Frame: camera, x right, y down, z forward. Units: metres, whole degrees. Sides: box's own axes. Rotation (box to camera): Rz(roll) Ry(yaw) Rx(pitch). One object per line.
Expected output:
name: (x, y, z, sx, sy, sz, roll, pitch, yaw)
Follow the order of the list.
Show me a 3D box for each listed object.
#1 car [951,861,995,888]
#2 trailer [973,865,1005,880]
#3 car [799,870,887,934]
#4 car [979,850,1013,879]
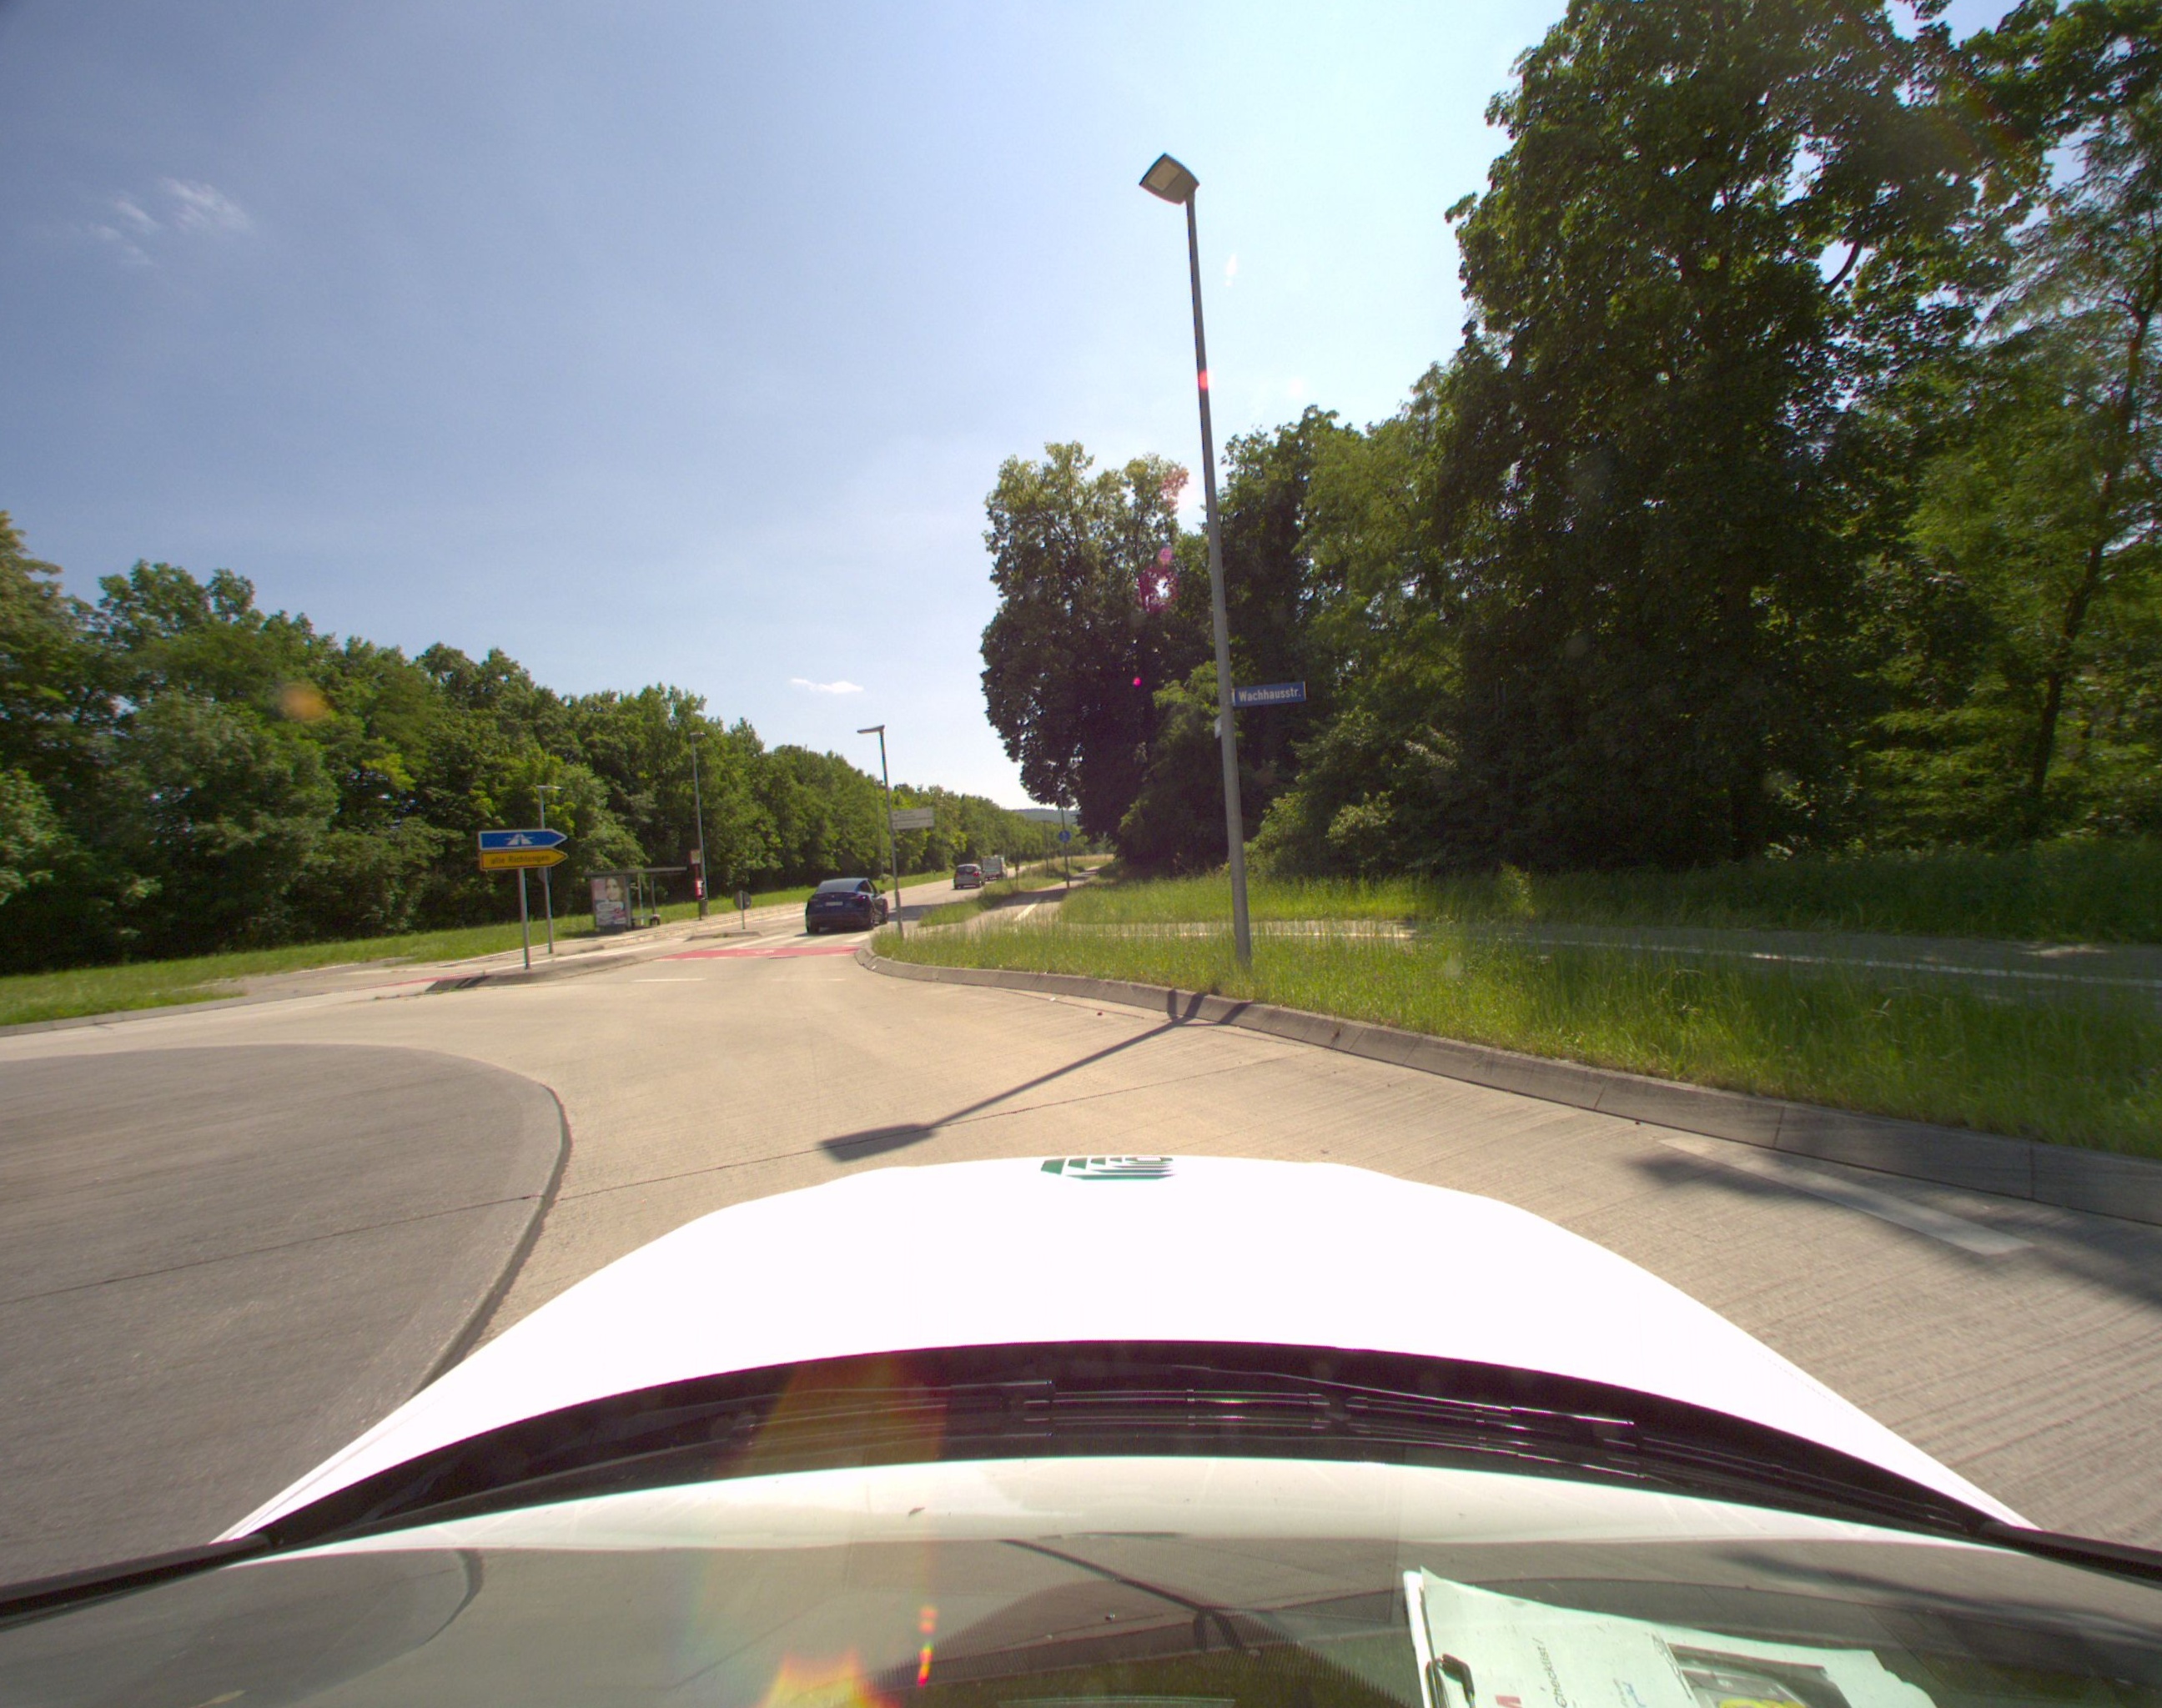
car: (-7.272, 1.342, 55.162, 1.775, 1.606, 4.137, -4, 0, 8)
trailer: (-7.732, 1.535, 68.818, 2.113, 1.097, 3.356, -4, 0, 2)
car: (-7.396, 1.420, 25.763, 1.994, 1.639, 4.741, -4, 0, -10)
car: (-7.568, 0.919, 72.962, 2.157, 2.316, 4.985, -3, 0, 3)
